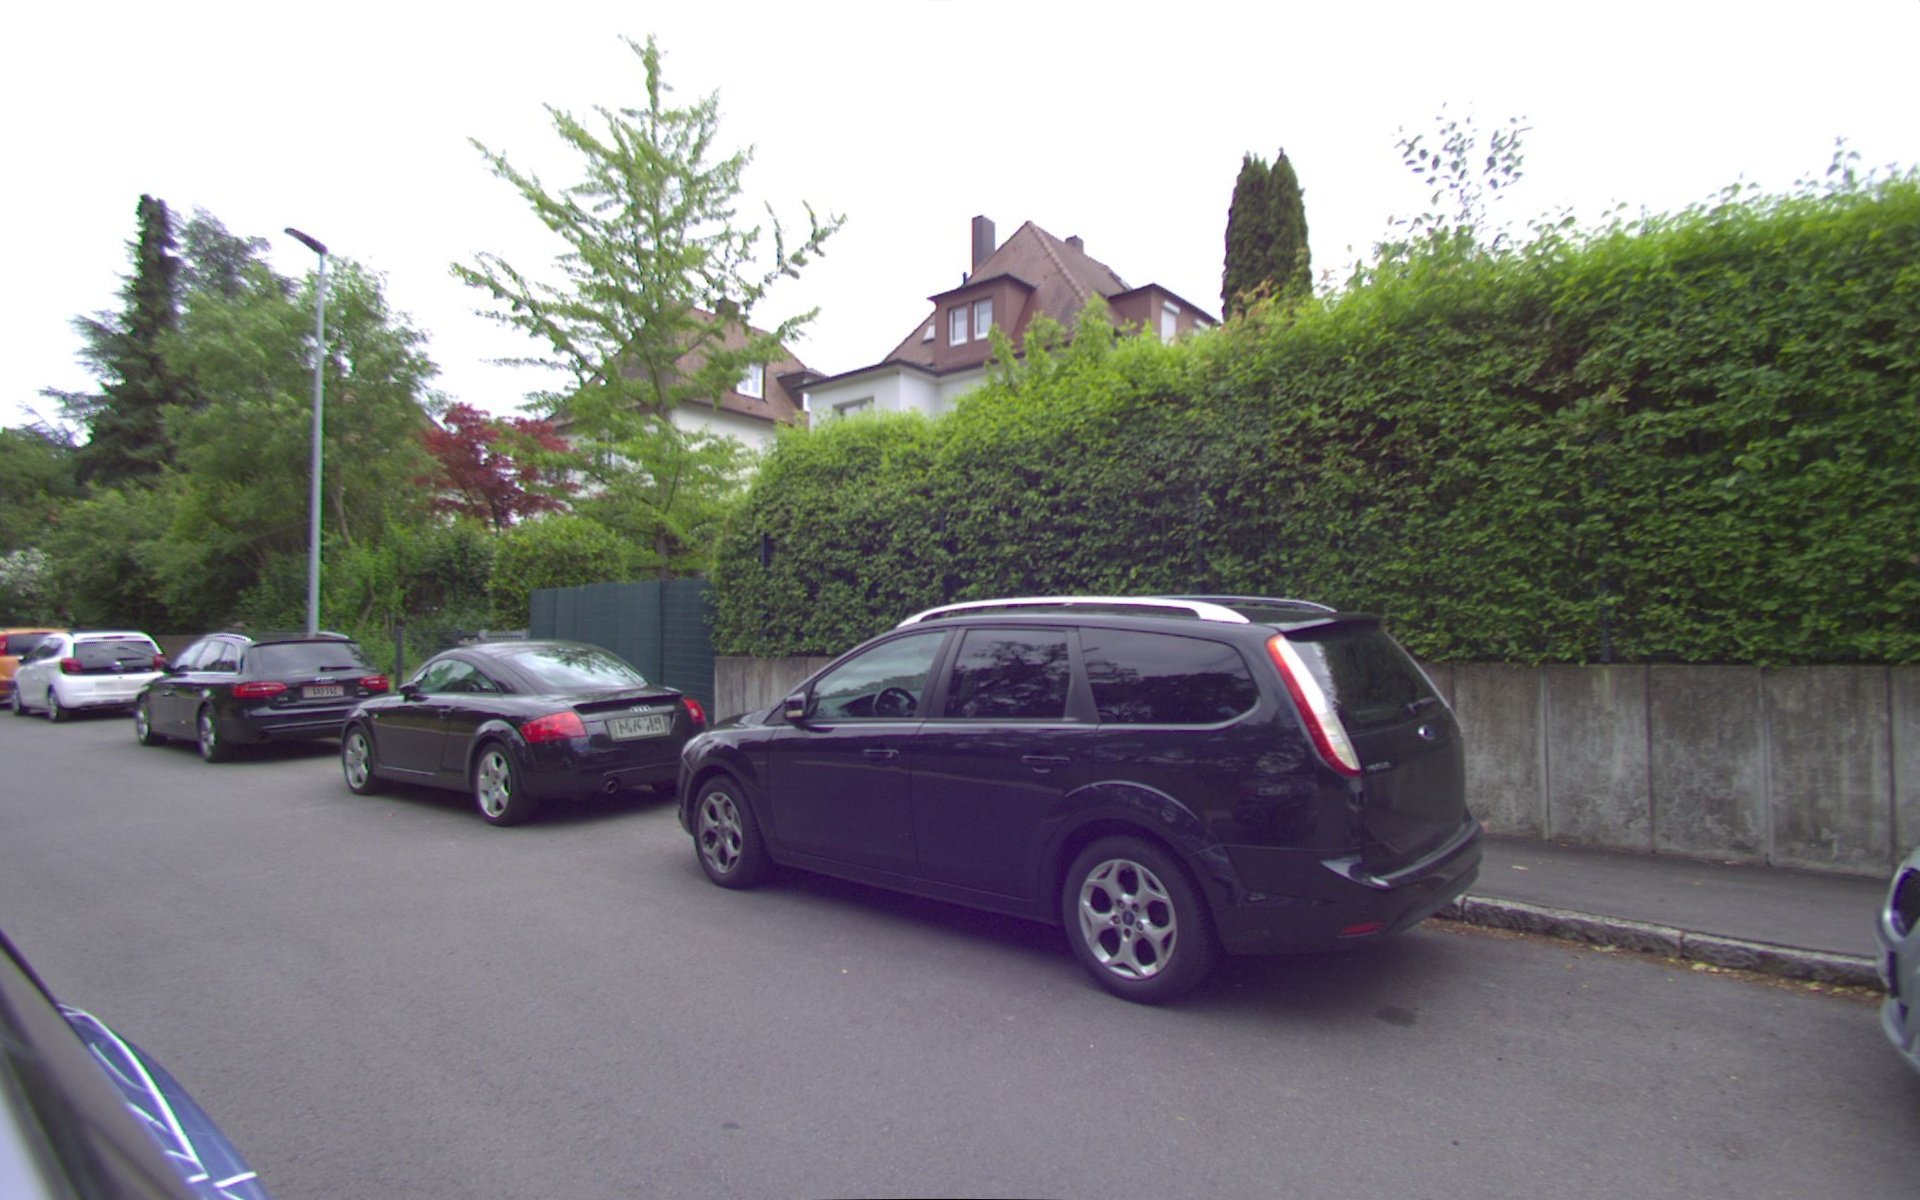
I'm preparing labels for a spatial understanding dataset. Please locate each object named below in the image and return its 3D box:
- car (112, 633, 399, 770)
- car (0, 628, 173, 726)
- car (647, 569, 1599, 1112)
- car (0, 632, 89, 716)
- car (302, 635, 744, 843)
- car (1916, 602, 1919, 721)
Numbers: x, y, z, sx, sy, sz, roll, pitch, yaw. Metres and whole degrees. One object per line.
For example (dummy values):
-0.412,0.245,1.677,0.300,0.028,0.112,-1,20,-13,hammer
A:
-8.855,1.119,12.559,4.658,1.395,1.701,-2,-2,39,car
-15.236,1.256,17.542,3.583,1.526,1.574,-2,-2,36,car
0.385,0.737,5.010,4.473,1.545,1.639,-2,-1,42,car
-18.867,1.410,20.056,3.634,1.526,1.531,-1,-2,34,car
-3.879,1.000,8.698,4.100,1.351,1.695,-2,-1,37,car
4.461,0.646,1.450,4.337,1.384,1.757,-2,-1,40,car
